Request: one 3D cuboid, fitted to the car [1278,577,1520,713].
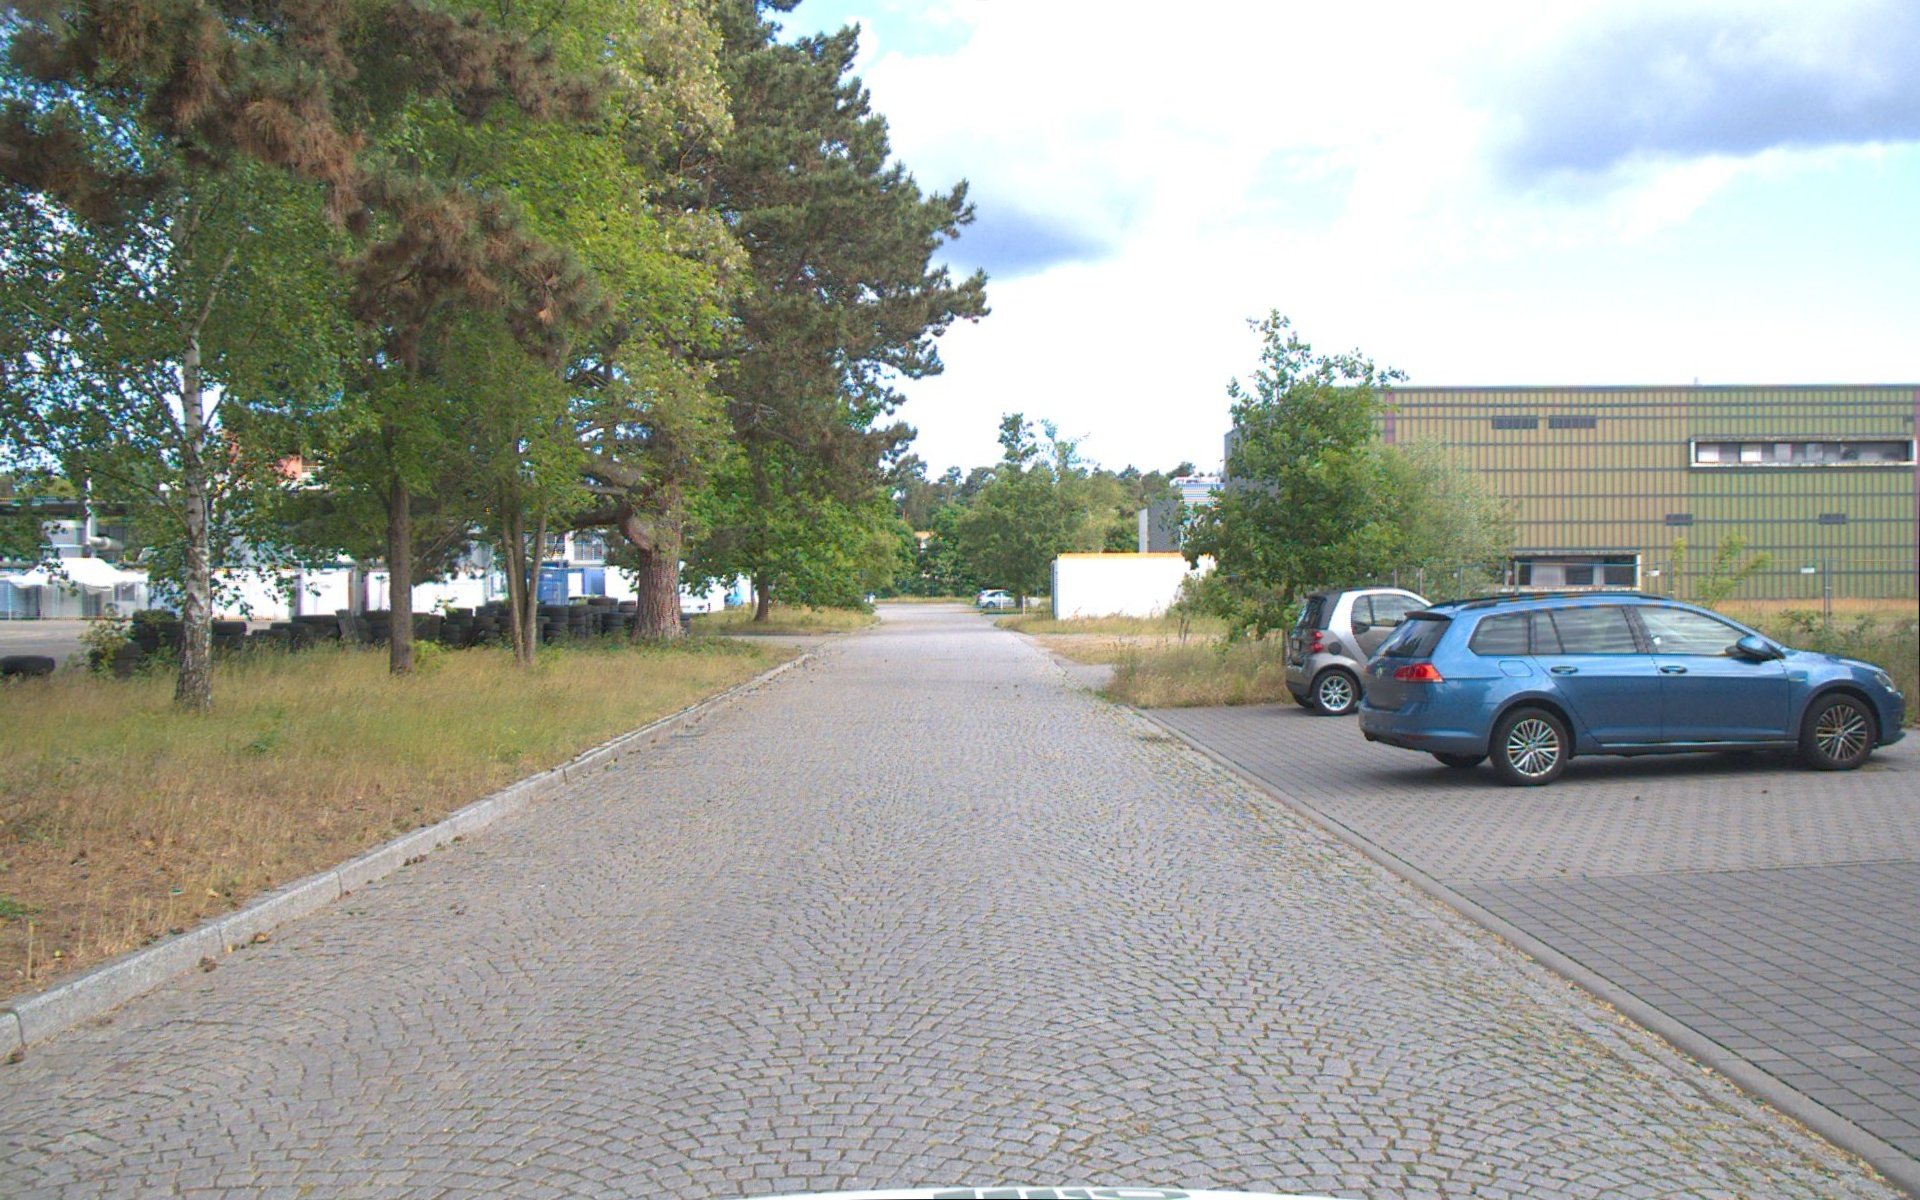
[{"bbox_3d":[5.631,0.554,21.443,2.654,1.583,1.653,-3,0,0],"label":"car"}]

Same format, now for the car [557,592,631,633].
[{"bbox_3d":[-13.809,0.442,62.652,1.591,1.458,4.066,0,1,5],"label":"car"}]

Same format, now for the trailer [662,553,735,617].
[{"bbox_3d":[-15.846,-0.909,100.759,2.571,3.661,10.179,0,0,1],"label":"trailer"}]

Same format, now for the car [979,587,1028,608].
[{"bbox_3d":[3.498,-0.220,133.926,3.903,1.473,1.653,-2,0,0],"label":"car"}]

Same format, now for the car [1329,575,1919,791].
[{"bbox_3d":[5.599,0.646,14.130,4.402,1.501,1.829,-3,0,-4],"label":"car"}]

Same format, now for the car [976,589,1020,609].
[{"bbox_3d":[3.005,-0.094,131.224,3.451,1.386,1.622,-2,0,0],"label":"car"}]

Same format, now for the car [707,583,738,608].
[{"bbox_3d":[-20.171,-0.381,140.371,1.953,2.049,4.767,0,0,0],"label":"car"}]
